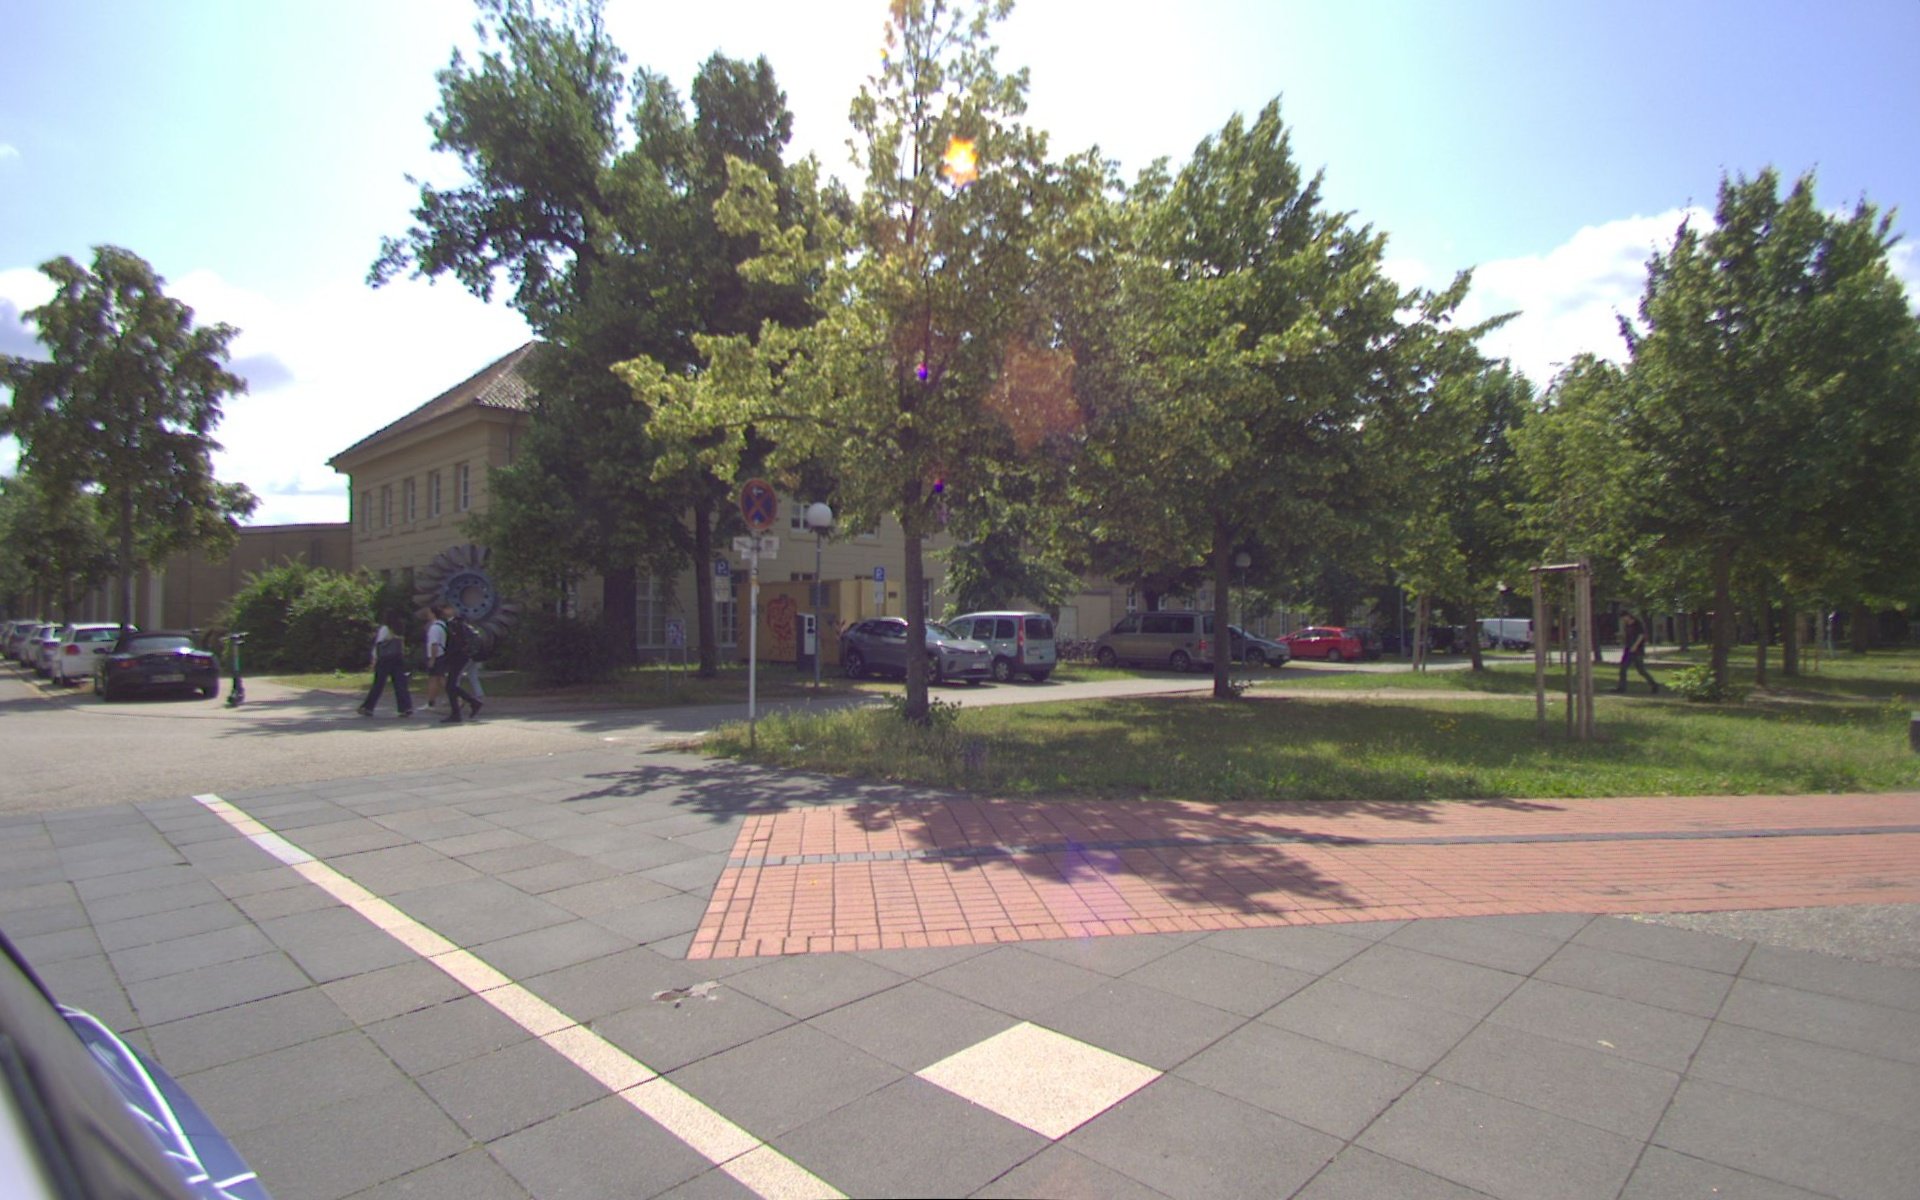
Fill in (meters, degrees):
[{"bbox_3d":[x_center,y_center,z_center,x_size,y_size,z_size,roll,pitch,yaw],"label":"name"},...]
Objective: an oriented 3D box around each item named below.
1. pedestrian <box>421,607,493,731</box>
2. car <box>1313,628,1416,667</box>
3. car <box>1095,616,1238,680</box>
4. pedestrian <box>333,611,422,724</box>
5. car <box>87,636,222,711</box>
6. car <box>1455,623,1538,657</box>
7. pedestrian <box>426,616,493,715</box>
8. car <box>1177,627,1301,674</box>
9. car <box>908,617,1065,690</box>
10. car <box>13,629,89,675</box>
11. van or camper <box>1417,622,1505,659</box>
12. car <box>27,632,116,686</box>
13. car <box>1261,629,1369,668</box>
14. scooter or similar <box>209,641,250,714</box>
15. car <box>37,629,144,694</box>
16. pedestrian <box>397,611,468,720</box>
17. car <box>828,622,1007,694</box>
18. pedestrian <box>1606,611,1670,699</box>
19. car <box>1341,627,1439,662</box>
[{"bbox_3d":[-7.490,1.021,15.102,0.858,1.800,0.570,1,-3,-19],"label":"pedestrian"},{"bbox_3d":[18.976,2.186,47.536,4.126,1.679,1.786,0,-1,44],"label":"car"},{"bbox_3d":[6.858,1.555,34.040,1.785,1.974,4.533,2,-1,-42],"label":"car"},{"bbox_3d":[-9.105,1.053,15.847,0.991,1.729,0.621,0,-3,0],"label":"pedestrian"},{"bbox_3d":[-15.881,1.378,19.885,1.677,1.305,3.764,2,-3,-44],"label":"car"},{"bbox_3d":[32.458,2.388,61.312,4.126,1.958,1.786,0,-1,44],"label":"car"},{"bbox_3d":[-8.916,1.156,18.062,0.956,1.729,0.559,1,-2,-16],"label":"pedestrian"},{"bbox_3d":[10.355,1.843,37.715,4.126,1.553,1.786,0,-1,44],"label":"car"},{"bbox_3d":[0.665,1.393,27.523,4.126,1.799,1.786,0,-1,44],"label":"car"},{"bbox_3d":[-30.723,1.708,34.171,1.694,1.444,4.003,2,-2,-44],"label":"car"},{"bbox_3d":[27.979,2.248,56.614,4.084,1.900,1.786,0,-1,44],"label":"van or camper"},{"bbox_3d":[-24.934,1.600,28.364,1.625,1.387,4.003,2,-2,-44],"label":"car"},{"bbox_3d":[15.472,2.091,44.271,1.785,1.553,4.129,2,-1,-43],"label":"car"},{"bbox_3d":[-12.747,1.333,17.660,0.463,1.225,1.206,2,-3,-40],"label":"scooter or similar"},{"bbox_3d":[-20.820,1.411,24.194,3.634,1.442,1.612,-2,-2,44],"label":"car"},{"bbox_3d":[-8.918,1.092,17.134,0.885,1.800,0.728,0,-2,-13],"label":"pedestrian"},{"bbox_3d":[-1.168,1.414,25.803,4.651,1.593,1.873,0,-1,44],"label":"car"},{"bbox_3d":[14.201,1.151,21.205,0.859,1.800,0.637,0,-3,-7],"label":"pedestrian"},{"bbox_3d":[21.309,2.181,50.292,4.126,1.553,1.786,0,-1,44],"label":"car"}]
